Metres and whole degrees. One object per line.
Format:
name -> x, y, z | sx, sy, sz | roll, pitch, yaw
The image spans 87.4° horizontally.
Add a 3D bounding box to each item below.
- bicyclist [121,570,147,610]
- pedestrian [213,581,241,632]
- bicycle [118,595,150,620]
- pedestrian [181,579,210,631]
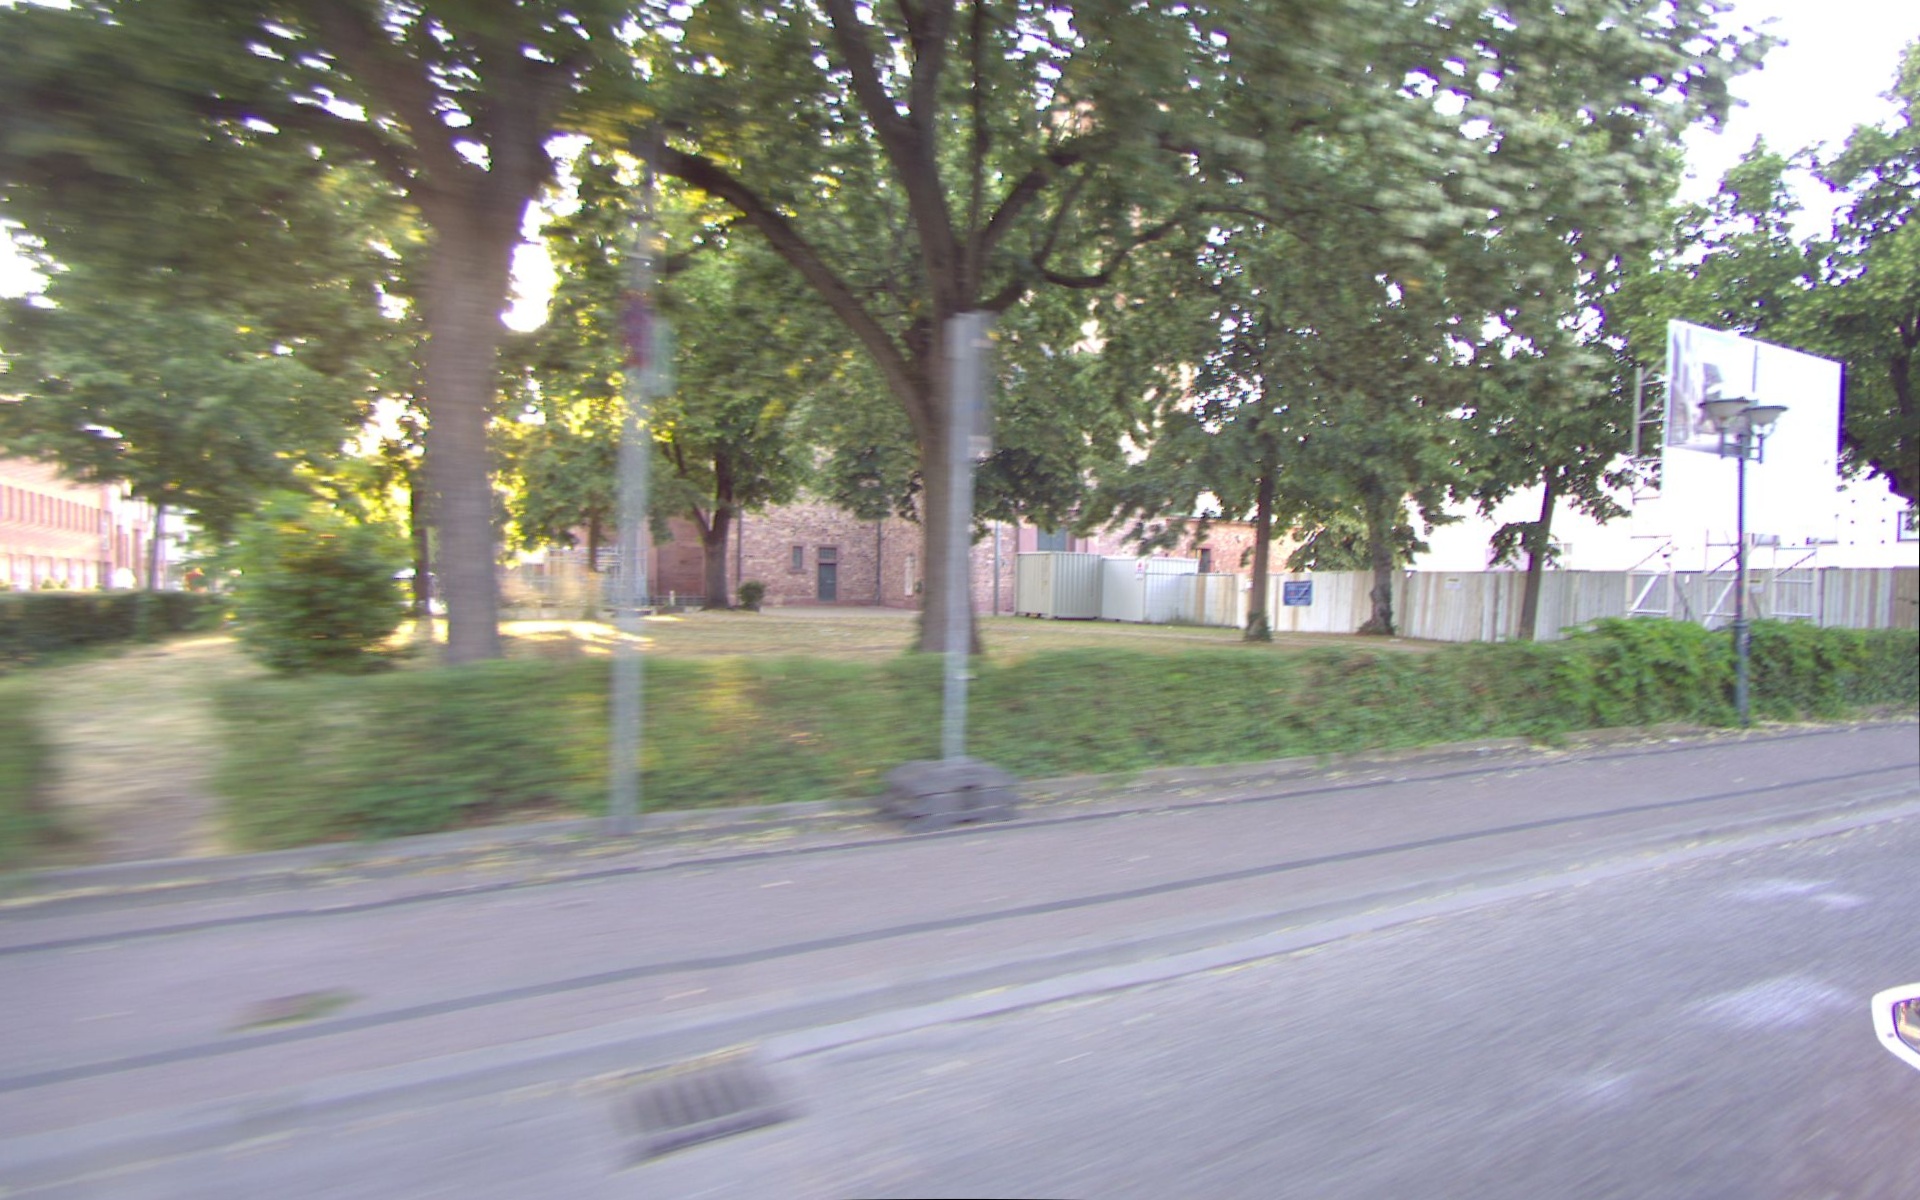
bicyclist -> -32.234, -0.387, 39.198 | 0.621, 1.572, 0.672 | 0, 1, -27
pedestrian -> -25.076, 0.211, 34.357 | 0.646, 1.715, 0.747 | 0, 1, -27
bicycle -> -32.243, 0.292, 39.225 | 0.526, 0.945, 1.823 | 0, 0, -26
pedestrian -> -25.811, 0.171, 33.909 | 0.646, 1.715, 0.747 | 0, 1, -27
